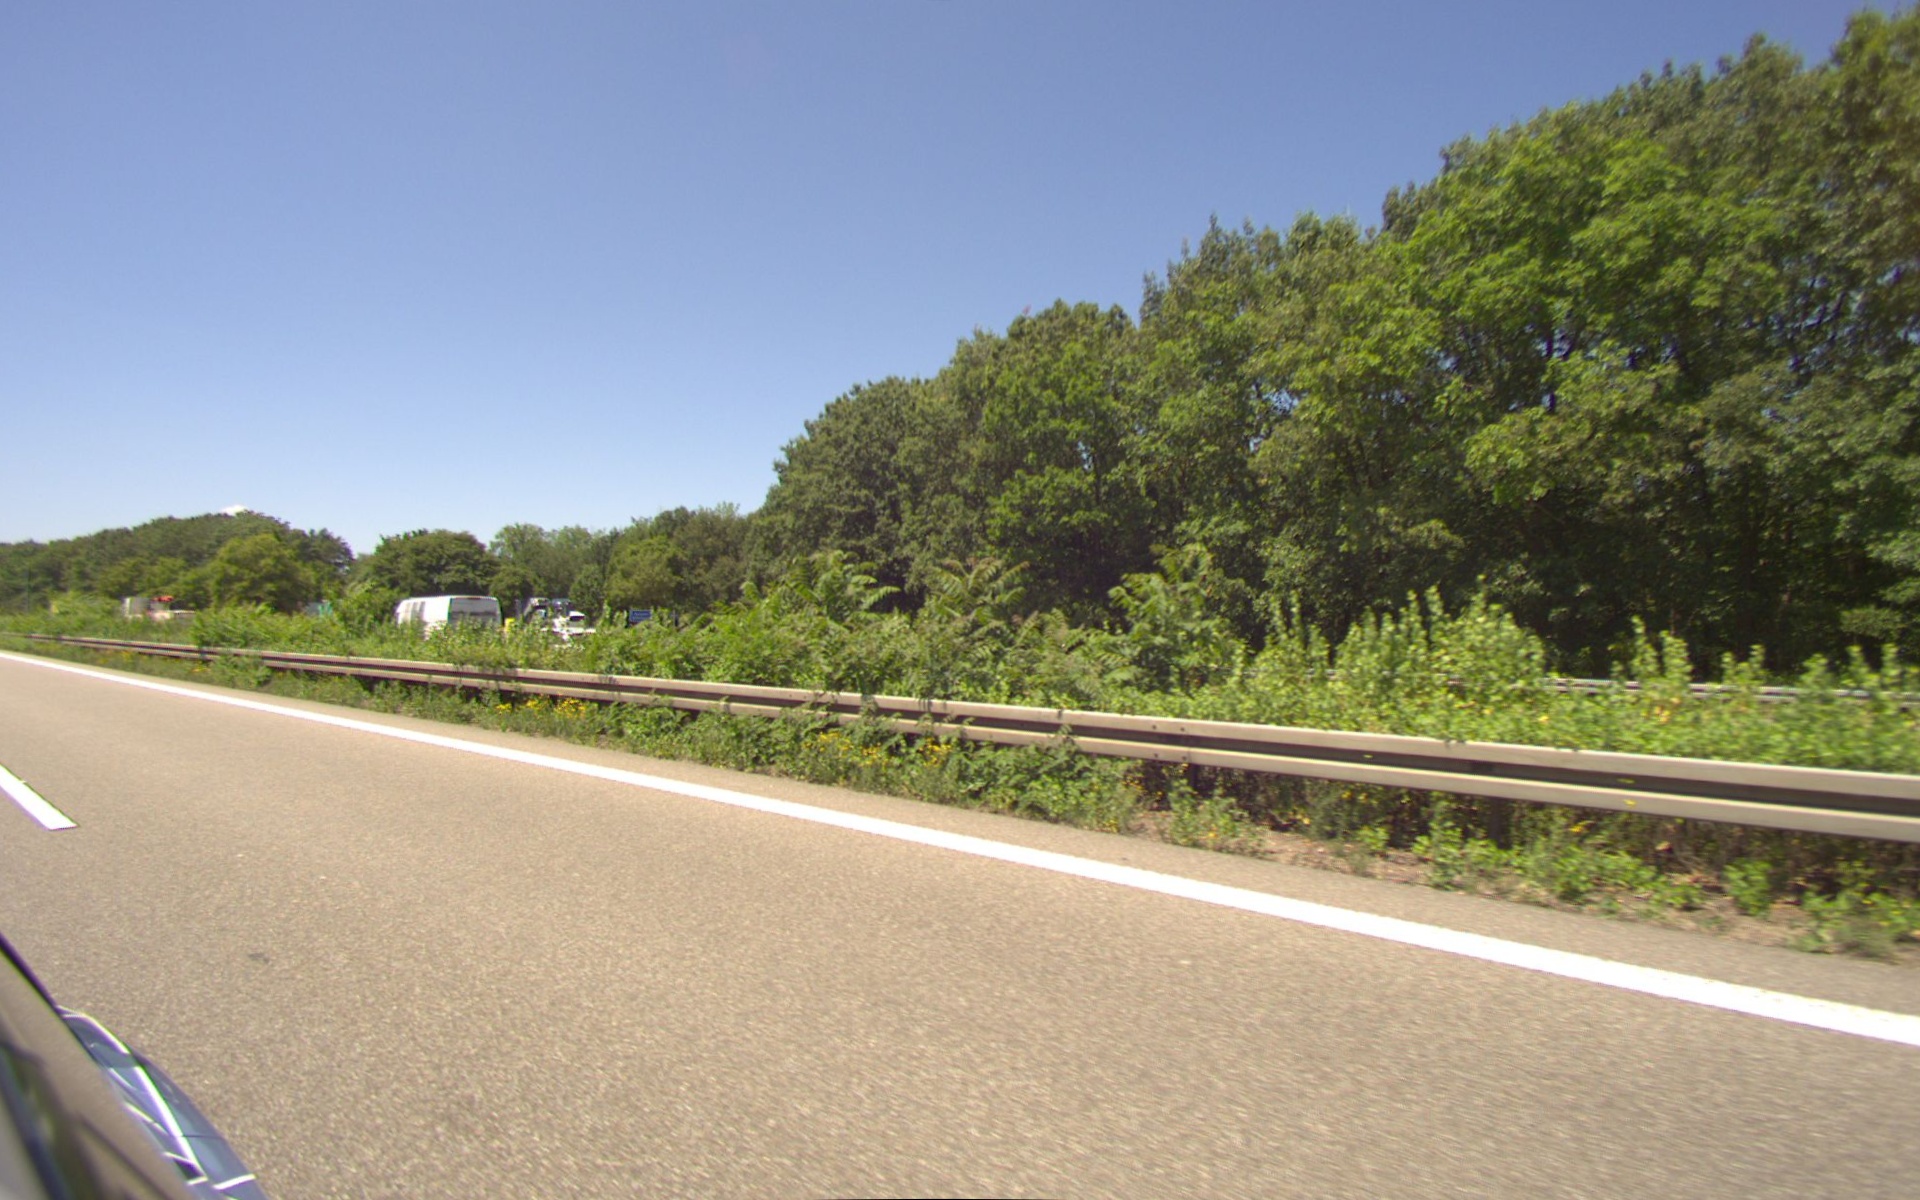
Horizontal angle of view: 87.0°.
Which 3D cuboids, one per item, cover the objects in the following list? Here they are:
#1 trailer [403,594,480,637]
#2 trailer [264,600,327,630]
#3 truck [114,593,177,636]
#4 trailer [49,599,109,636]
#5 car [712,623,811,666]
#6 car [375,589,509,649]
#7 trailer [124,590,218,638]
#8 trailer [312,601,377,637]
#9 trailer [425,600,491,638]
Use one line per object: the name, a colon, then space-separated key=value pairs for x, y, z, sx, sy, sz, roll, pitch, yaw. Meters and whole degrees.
trailer: x=-54.086 y=1.615 z=105.260 sx=3.178 sy=4.167 sz=14.062 roll=-1 pitch=0 yaw=-44
trailer: x=-98.286 y=2.298 z=149.547 sx=14.005 sy=4.296 sz=3.566 roll=-1 pitch=-2 yaw=38
truck: x=-71.619 y=1.257 z=88.912 sx=6.993 sy=3.607 sz=3.165 roll=-1 pitch=0 yaw=41
trailer: x=-97.616 y=1.914 z=111.995 sx=14.017 sy=3.854 sz=3.164 roll=-1 pitch=0 yaw=42
car: x=-8.237 y=1.795 z=41.843 sx=3.998 sy=1.606 sz=1.951 roll=-1 pitch=0 yaw=41
car: x=-19.297 y=0.678 z=37.524 sx=6.630 sy=2.070 sz=2.124 roll=-1 pitch=0 yaw=41
trailer: x=-64.898 y=1.151 z=82.991 sx=15.961 sy=3.607 sz=3.164 roll=-1 pitch=0 yaw=41
trailer: x=-83.253 y=2.649 z=136.783 sx=14.019 sy=4.627 sz=3.562 roll=-1 pitch=-2 yaw=42
trailer: x=-64.260 y=2.455 z=129.337 sx=3.558 sy=4.627 sz=14.035 roll=2 pitch=-2 yaw=-44
